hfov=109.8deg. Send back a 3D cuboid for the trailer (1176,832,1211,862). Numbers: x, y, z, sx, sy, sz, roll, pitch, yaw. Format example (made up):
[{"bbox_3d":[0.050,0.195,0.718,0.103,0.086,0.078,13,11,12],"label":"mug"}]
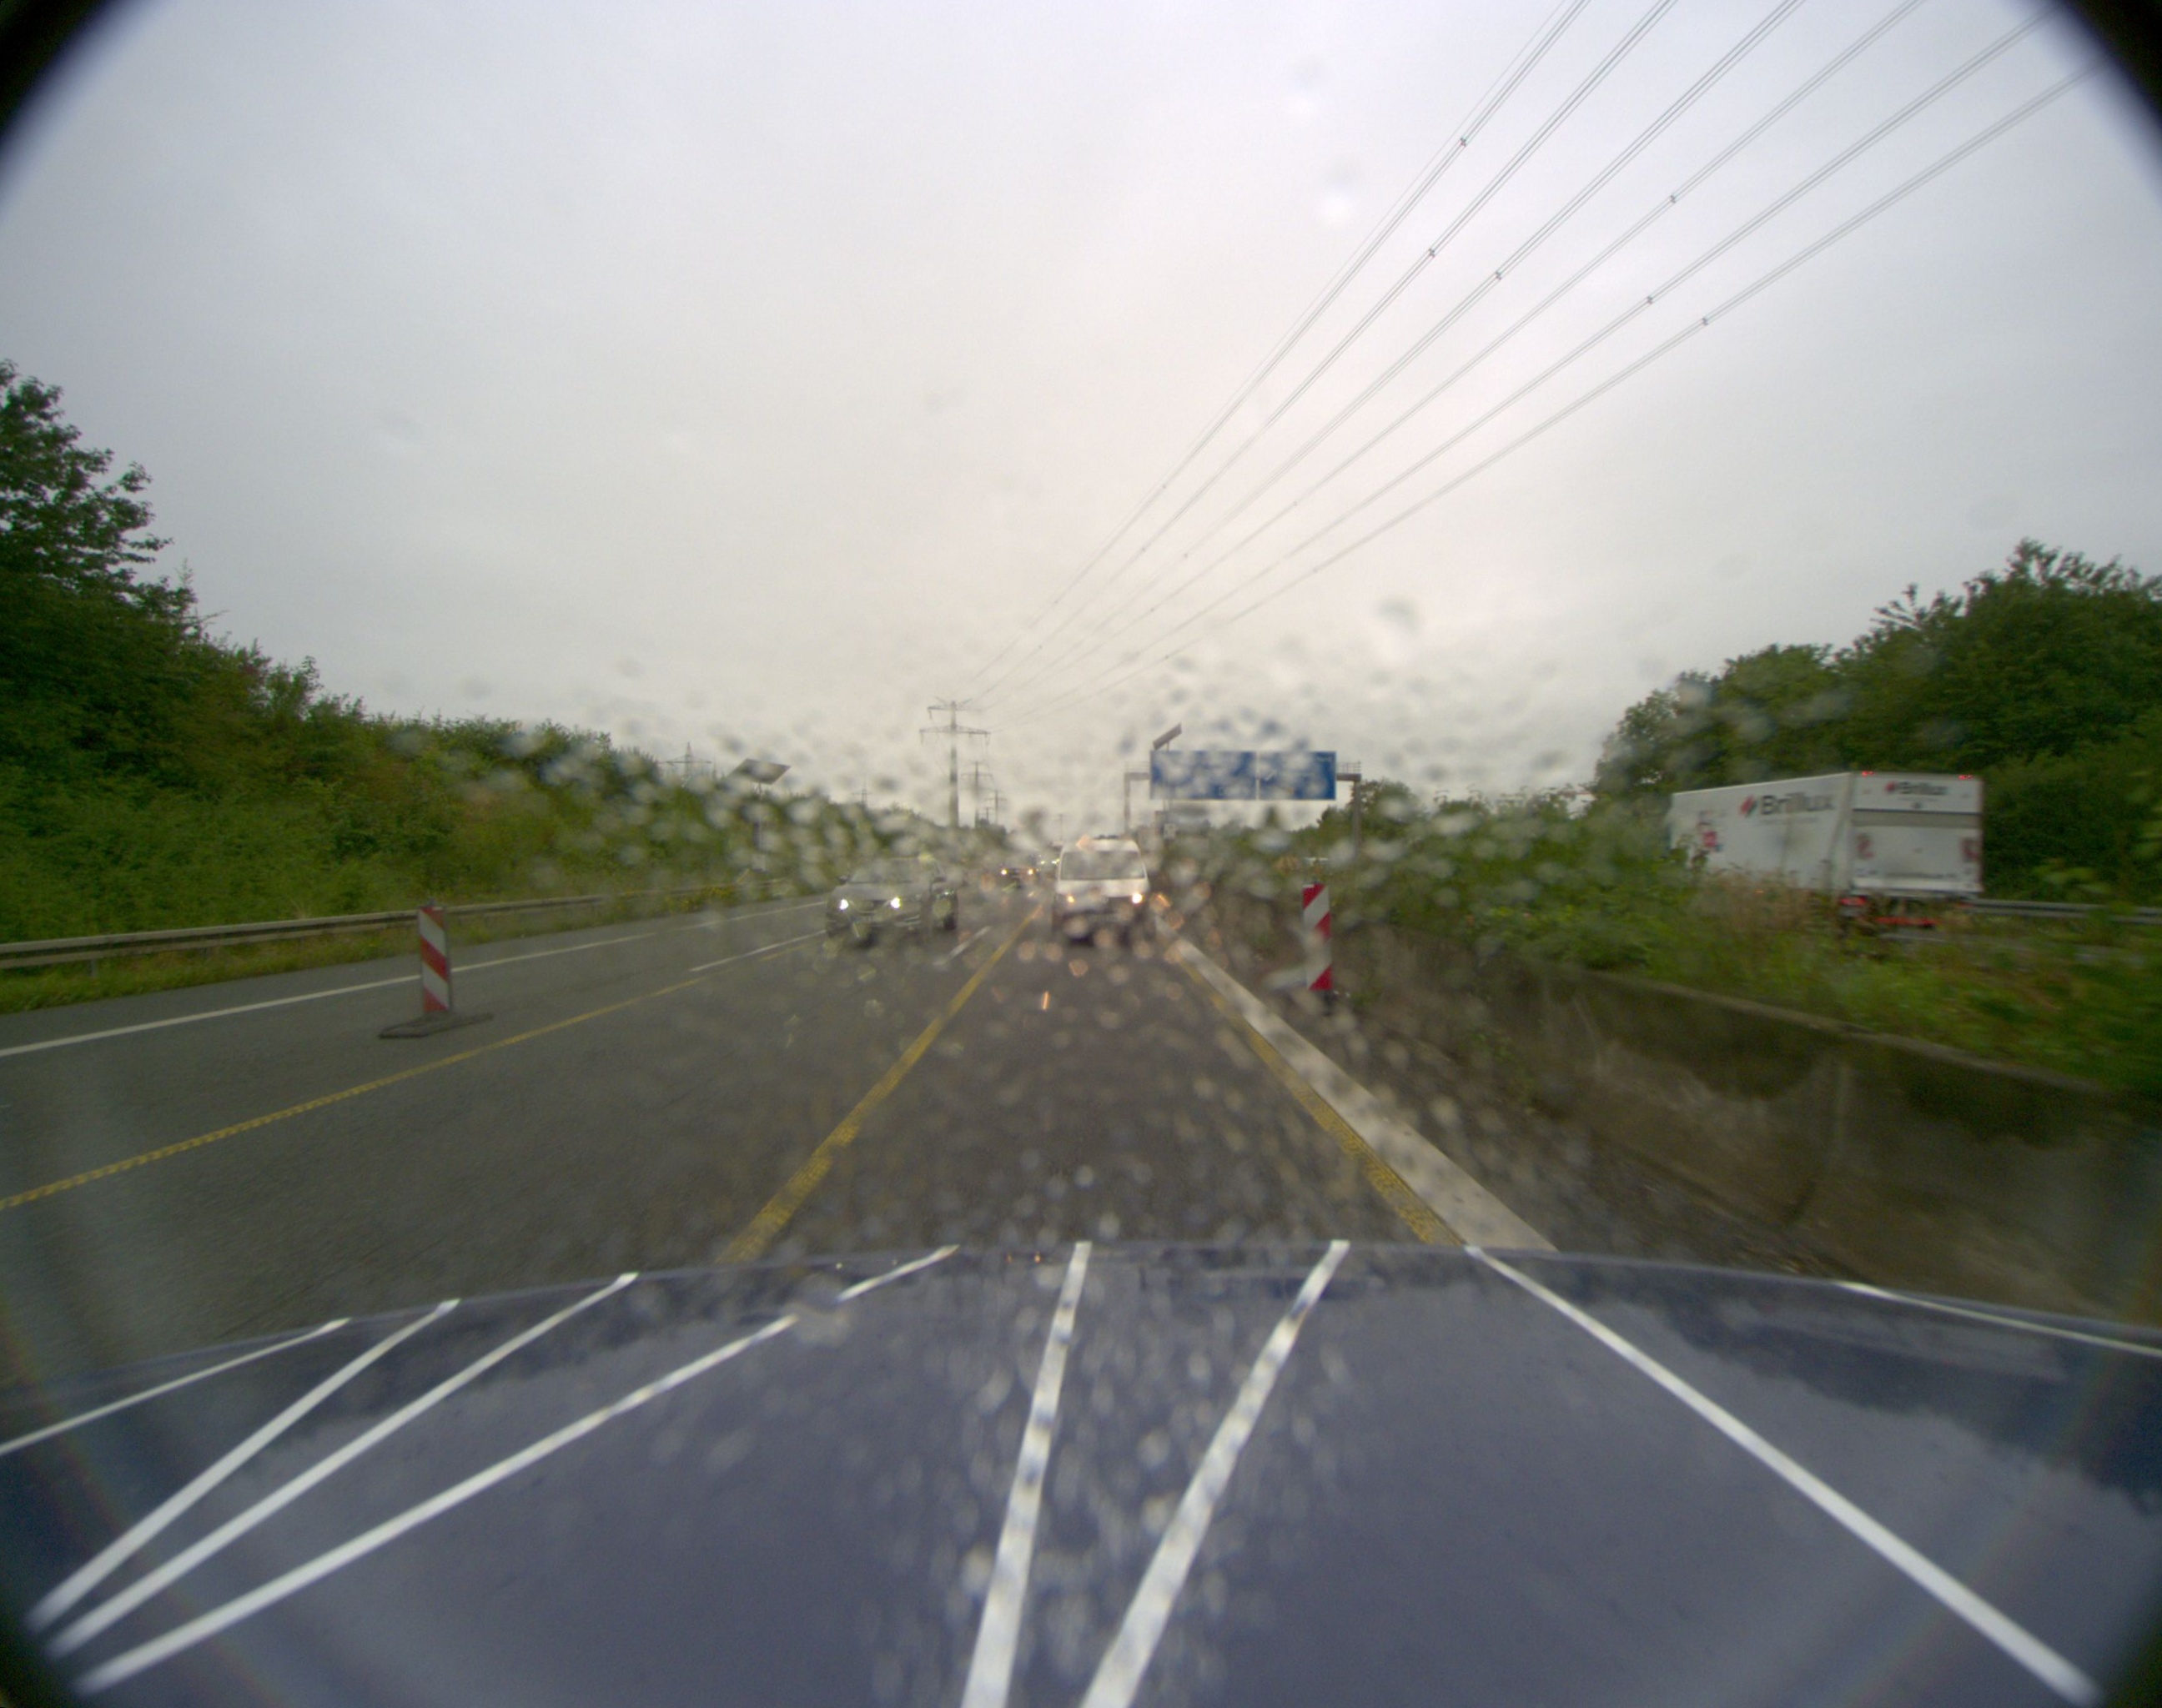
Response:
[{"bbox_3d":[15.884,-1.017,108.349,2.793,4.000,13.249,2,0,0],"label":"trailer"}]

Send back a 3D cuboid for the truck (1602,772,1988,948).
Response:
[{"bbox_3d":[15.750,0.082,17.717,2.266,3.209,7.051,2,1,1],"label":"truck"}]

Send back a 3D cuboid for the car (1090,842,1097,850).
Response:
[{"bbox_3d":[3.311,-2.136,205.827,1.785,2.002,3.999,-2,1,1],"label":"car"}]

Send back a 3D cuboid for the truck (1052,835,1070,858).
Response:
[{"bbox_3d":[-3.473,-1.290,135.866,2.875,4.007,8.308,-1,1,1],"label":"truck"}]

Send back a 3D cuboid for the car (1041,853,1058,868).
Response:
[{"bbox_3d":[-3.552,0.749,86.853,1.804,1.598,4.149,-1,0,-1],"label":"car"}]

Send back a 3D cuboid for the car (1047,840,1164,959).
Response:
[{"bbox_3d":[0.392,0.688,13.892,1.768,1.803,4.345,-1,0,0],"label":"car"}]

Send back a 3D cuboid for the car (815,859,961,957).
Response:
[{"bbox_3d":[-3.531,0.913,14.720,1.804,1.523,4.149,-1,0,-1],"label":"car"}]

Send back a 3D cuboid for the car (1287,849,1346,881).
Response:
[{"bbox_3d":[11.876,0.518,38.612,1.722,1.447,4.160,-2,1,1],"label":"car"}]

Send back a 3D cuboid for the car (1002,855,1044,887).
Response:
[{"bbox_3d":[-2.846,0.798,37.830,1.804,1.432,4.149,-1,0,-1],"label":"car"}]
